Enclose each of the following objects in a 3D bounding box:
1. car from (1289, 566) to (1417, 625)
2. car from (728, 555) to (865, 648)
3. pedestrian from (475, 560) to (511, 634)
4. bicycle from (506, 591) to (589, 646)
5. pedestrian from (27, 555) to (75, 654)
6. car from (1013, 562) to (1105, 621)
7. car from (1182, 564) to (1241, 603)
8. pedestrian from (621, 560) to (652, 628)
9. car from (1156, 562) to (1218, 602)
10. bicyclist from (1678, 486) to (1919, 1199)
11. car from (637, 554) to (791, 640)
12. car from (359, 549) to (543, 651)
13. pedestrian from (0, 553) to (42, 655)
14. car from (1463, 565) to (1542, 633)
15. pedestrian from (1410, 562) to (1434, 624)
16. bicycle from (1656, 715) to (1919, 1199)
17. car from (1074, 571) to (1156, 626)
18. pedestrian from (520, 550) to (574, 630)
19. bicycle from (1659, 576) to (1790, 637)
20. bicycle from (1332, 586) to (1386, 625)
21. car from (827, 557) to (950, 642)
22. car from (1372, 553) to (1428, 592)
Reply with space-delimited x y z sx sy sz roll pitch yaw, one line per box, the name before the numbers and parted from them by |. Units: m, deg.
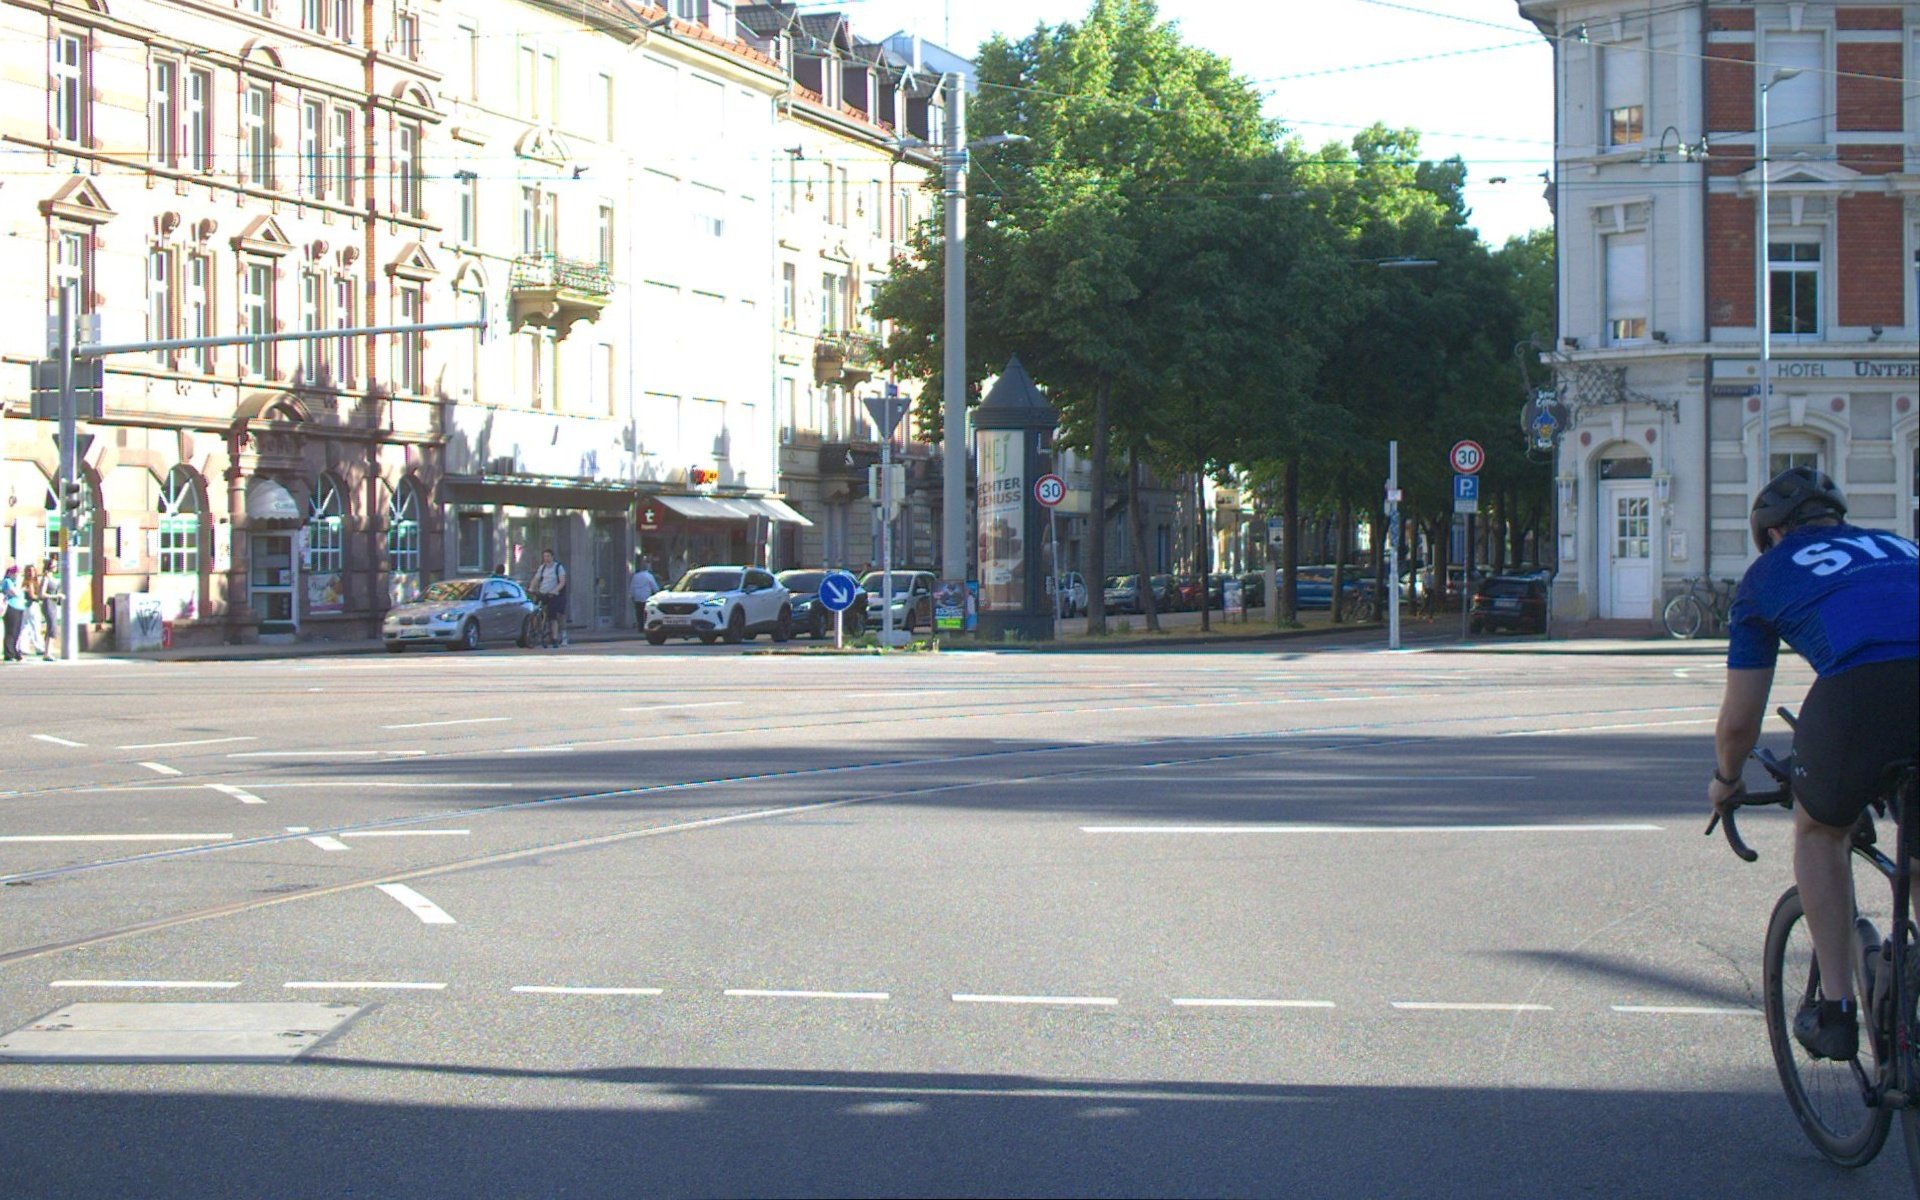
car | 13.151 -0.173 114.990 3.990 1.897 1.998 1 0 16
car | -3.476 0.012 73.692 1.994 1.897 3.998 1 1 11
pedestrian | -10.341 -0.061 76.121 0.544 1.626 0.706 1 0 13
bicycle | -7.820 0.333 65.302 0.763 1.004 2.395 1 1 13
pedestrian | -15.119 0.075 57.186 0.633 1.628 0.701 1 0 -4
car | 3.271 -0.286 112.719 1.995 1.897 3.997 1 1 17
car | 9.969 -0.648 136.227 1.560 1.508 3.653 1 1 17
pedestrian | -7.871 -0.152 83.743 0.544 1.626 0.706 1 0 13
car | 8.715 -0.699 131.940 1.560 1.508 3.653 1 1 17
bicyclist | 2.001 0.499 7.657 0.639 1.489 0.883 1 2 4
car | -4.778 -0.074 67.352 1.994 1.612 3.998 1 1 11
car | -9.897 -0.010 67.148 1.995 1.897 3.997 1 1 17
pedestrian | -15.337 0.061 55.919 0.633 1.628 0.701 1 0 -4
car | 13.061 -0.043 82.609 1.692 1.559 3.839 1 1 11
pedestrian | 13.519 -0.206 100.612 0.640 1.790 0.490 1 0 12
bicycle | 2.015 0.838 7.670 0.626 1.081 1.703 1 1 2
car | 5.553 -0.059 122.628 1.995 1.897 3.997 1 1 17
pedestrian | -7.834 -0.194 65.222 0.821 1.507 0.598 1 0 15
bicycle | 12.691 0.101 57.097 2.049 0.994 0.630 0 0 3
bicycle | 11.497 0.160 99.087 0.626 1.081 1.703 1 1 -31
car | -1.631 -0.024 79.813 1.994 1.897 3.998 1 1 11
car | 17.227 -1.078 134.588 1.560 1.508 3.653 1 1 17
